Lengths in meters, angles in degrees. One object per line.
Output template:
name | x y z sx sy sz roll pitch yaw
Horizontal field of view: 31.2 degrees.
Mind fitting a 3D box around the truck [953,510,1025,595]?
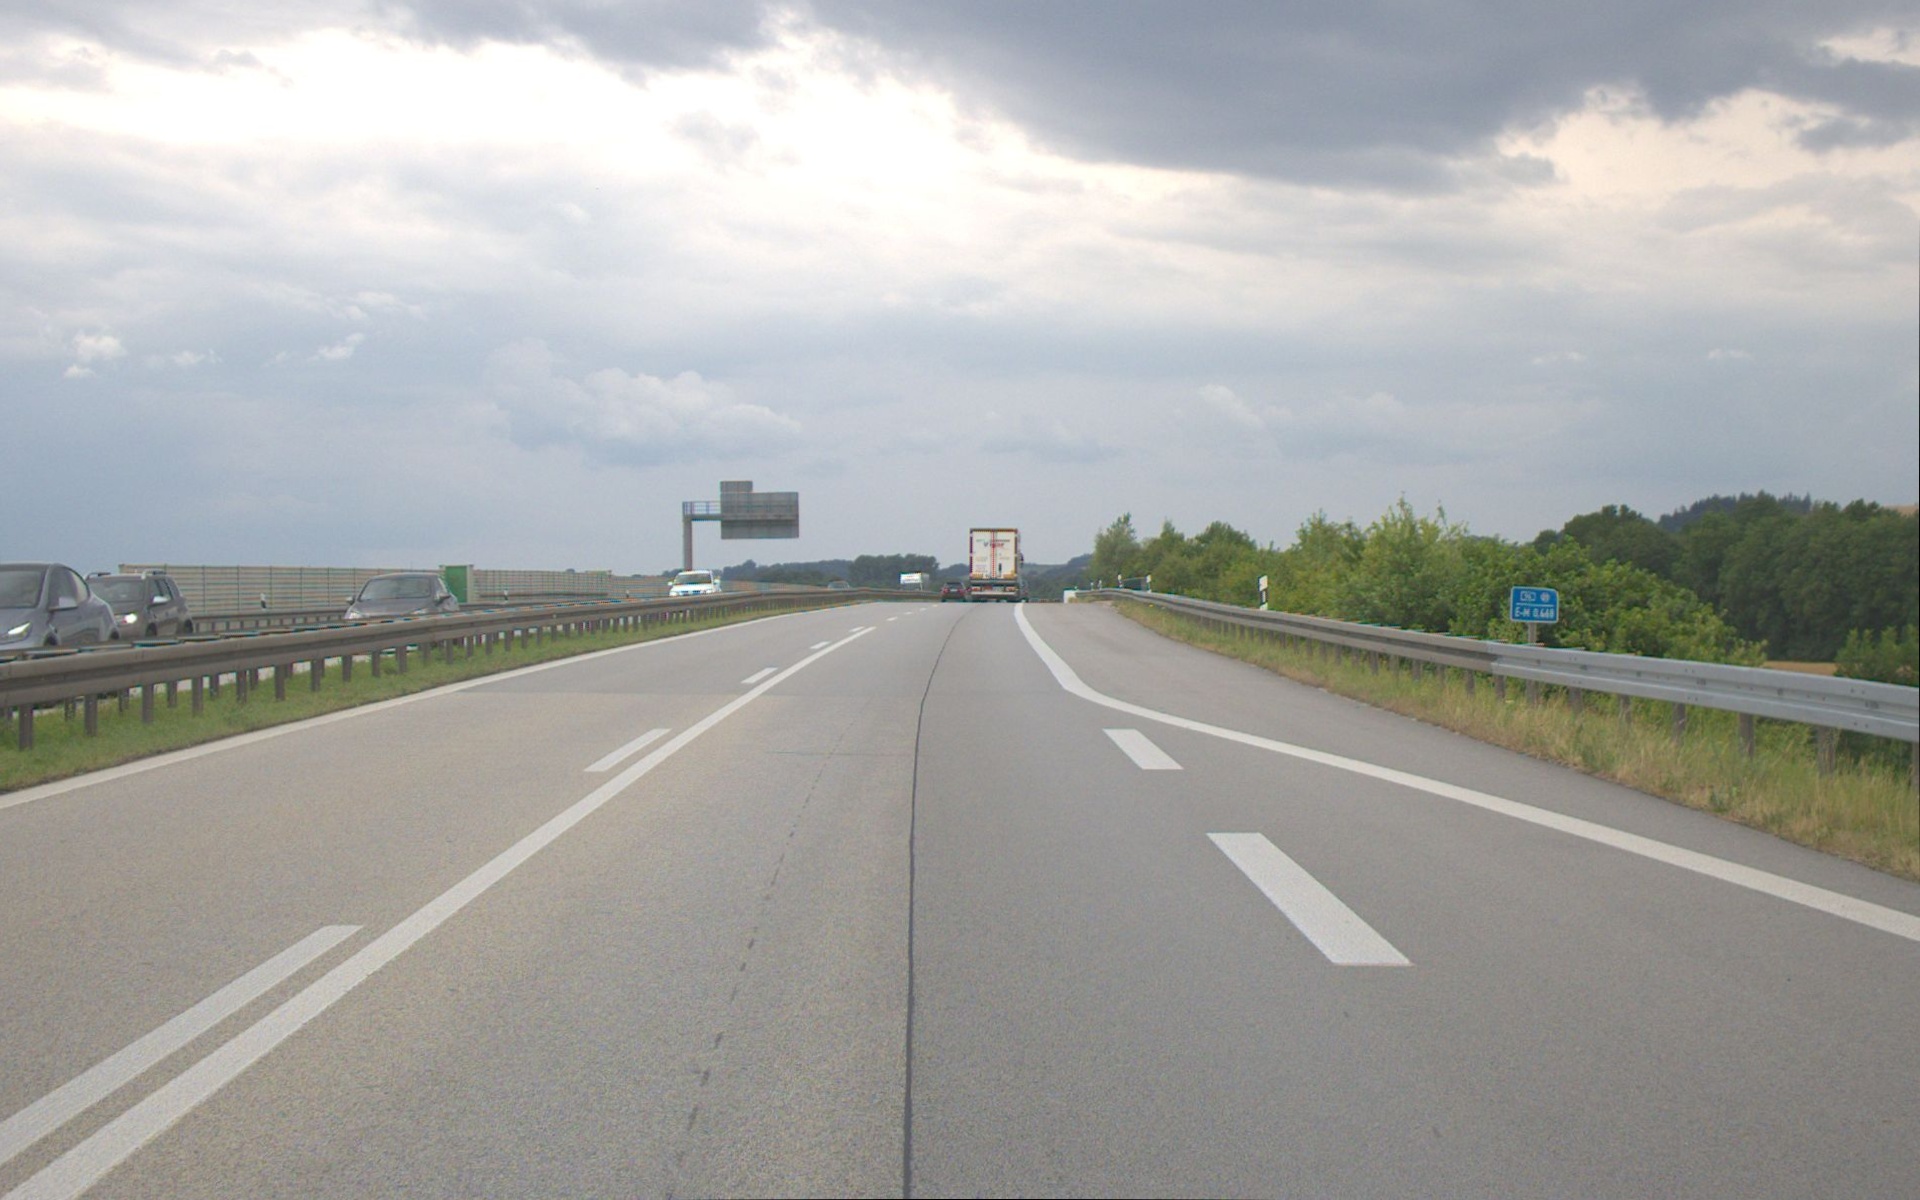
truck | 1.734 -2.587 195.359 3.672 4.397 16.339 -1 -1 2

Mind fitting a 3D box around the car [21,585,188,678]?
car | -14.198 0.499 57.224 1.800 1.388 4.000 1 1 0

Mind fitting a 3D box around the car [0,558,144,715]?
car | -10.605 0.363 37.777 2.135 1.582 5.000 -1 1 -1

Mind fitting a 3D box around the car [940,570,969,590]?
car | -0.424 -1.428 249.108 1.993 1.415 4.000 1 1 -1
